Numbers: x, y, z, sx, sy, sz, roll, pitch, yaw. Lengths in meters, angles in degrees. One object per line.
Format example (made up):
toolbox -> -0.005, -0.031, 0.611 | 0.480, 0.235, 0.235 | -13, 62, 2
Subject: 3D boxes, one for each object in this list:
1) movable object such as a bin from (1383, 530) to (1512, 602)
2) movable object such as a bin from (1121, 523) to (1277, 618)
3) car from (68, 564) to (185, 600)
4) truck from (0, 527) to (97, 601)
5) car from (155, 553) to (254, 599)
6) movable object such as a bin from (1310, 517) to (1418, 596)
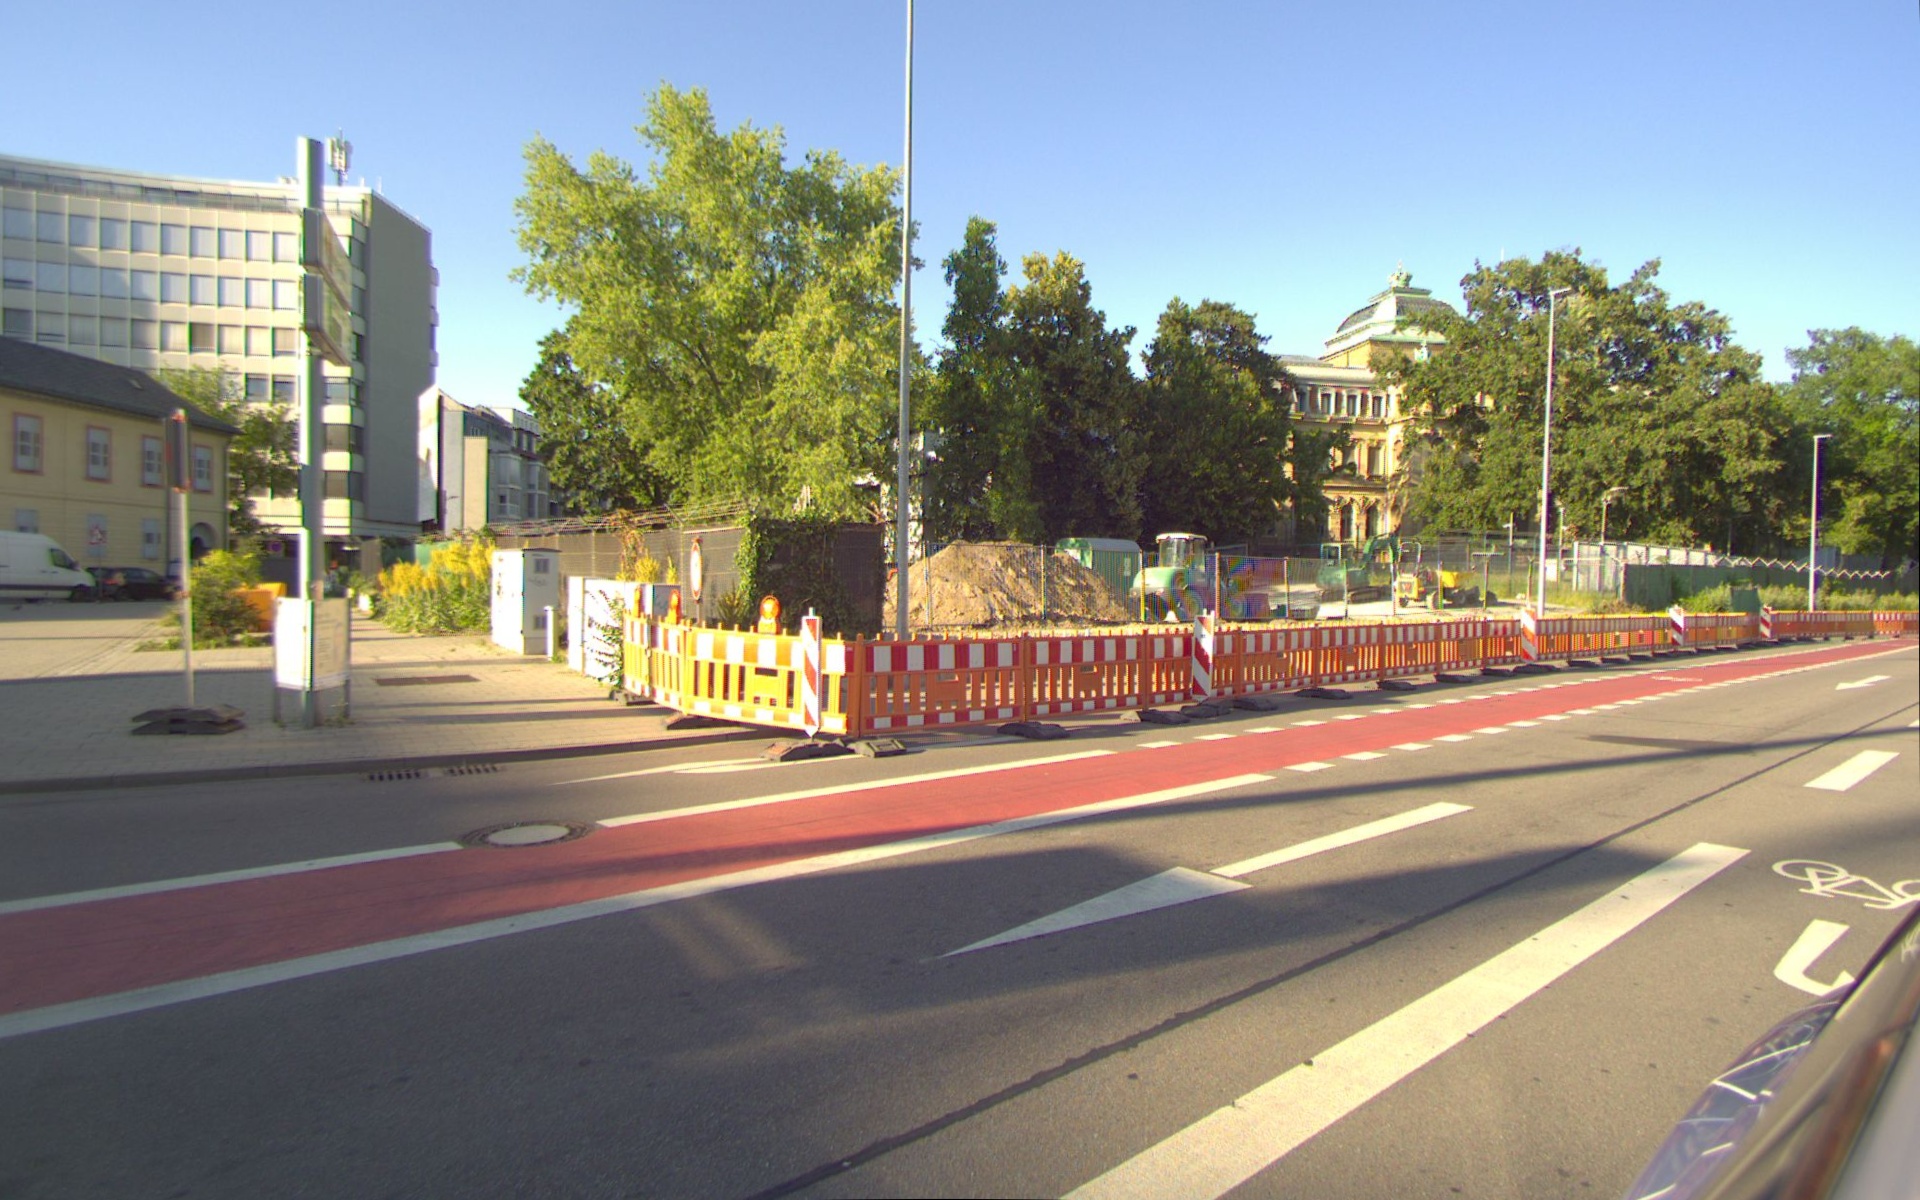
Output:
movable object such as a bin -> 20.427, -1.368, 42.354 | 5.750, 2.852, 2.002 | -1, 0, -30
movable object such as a bin -> 7.438, -0.875, 31.294 | 4.920, 2.717, 1.999 | -1, 0, -36
car -> -34.340, -0.731, 41.817 | 1.682, 1.382, 3.761 | 0, 0, 1
truck -> -34.315, -1.253, 36.058 | 2.258, 2.581, 5.638 | 0, 0, 1
car -> -34.395, -1.084, 46.172 | 1.682, 2.005, 3.761 | 0, 0, 1
movable object such as a bin -> 18.159, -1.872, 45.374 | 5.274, 3.371, 1.999 | -1, 0, -36
